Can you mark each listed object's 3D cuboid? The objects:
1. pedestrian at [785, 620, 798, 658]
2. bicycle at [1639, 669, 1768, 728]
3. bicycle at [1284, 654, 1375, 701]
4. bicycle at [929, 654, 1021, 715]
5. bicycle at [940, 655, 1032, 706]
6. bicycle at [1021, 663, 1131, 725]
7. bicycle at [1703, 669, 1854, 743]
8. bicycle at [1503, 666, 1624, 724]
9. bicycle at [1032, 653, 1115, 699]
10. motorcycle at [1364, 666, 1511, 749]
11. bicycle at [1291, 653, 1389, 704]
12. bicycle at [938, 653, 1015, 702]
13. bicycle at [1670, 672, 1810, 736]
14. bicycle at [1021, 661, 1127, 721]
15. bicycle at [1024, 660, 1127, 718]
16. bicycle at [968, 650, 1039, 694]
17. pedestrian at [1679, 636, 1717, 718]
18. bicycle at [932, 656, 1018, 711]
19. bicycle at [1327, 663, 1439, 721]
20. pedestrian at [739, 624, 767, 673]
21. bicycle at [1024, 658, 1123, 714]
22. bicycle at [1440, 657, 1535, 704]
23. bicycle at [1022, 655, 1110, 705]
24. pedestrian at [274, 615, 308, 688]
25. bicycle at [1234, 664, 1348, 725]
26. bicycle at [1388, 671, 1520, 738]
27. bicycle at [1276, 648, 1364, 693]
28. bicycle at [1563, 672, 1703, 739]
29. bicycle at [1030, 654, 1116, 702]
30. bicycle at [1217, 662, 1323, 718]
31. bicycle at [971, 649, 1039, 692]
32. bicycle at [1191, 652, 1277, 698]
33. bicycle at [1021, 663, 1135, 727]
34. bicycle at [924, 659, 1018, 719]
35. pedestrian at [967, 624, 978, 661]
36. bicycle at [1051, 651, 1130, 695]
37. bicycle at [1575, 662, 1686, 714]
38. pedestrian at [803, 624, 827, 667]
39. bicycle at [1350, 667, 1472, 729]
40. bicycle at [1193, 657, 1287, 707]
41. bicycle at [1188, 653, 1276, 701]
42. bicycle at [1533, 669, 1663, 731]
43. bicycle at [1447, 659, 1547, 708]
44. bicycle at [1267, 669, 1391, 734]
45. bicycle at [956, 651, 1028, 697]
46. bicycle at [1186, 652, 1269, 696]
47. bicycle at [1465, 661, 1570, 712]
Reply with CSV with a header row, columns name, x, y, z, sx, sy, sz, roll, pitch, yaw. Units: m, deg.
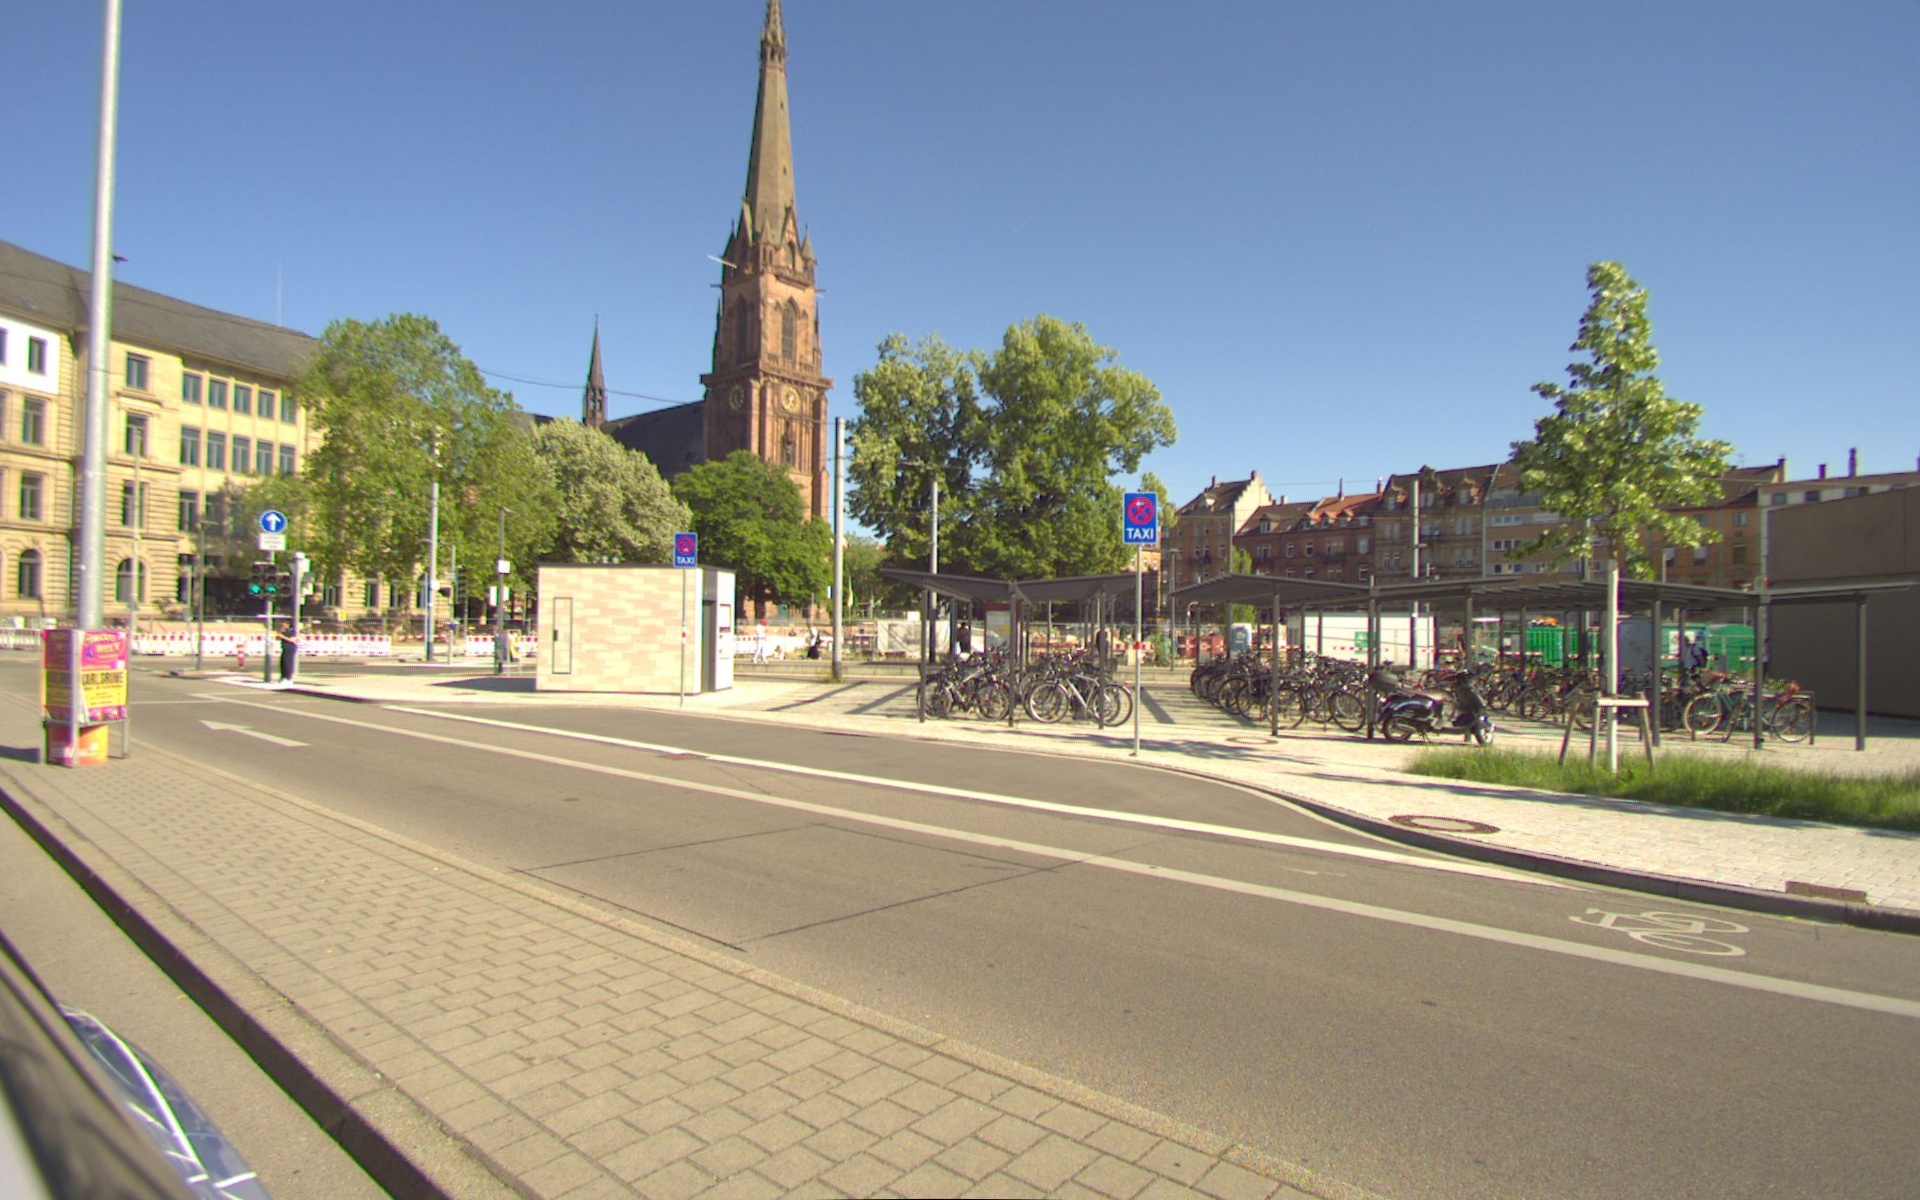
name,x,y,z,sx,sy,sz,roll,pitch,yaw
pedestrian,-9.840,2.265,59.075,0.545,2.171,0.568,0,-2,15
bicycle,13.470,1.777,18.369,1.882,1.016,0.456,0,-2,8
bicycle,8.317,1.735,22.822,1.882,1.016,0.456,0,-2,8
bicycle,0.281,1.558,18.780,1.652,1.069,0.456,0,-2,8
bicycle,0.544,1.674,21.230,1.882,1.016,0.456,0,-2,8
bicycle,2.020,1.624,17.678,1.882,1.016,0.456,0,-2,8
bicycle,13.083,1.685,16.210,1.882,1.106,0.456,0,-2,8
bicycle,11.165,1.756,18.762,1.882,1.016,0.456,0,-2,8
bicycle,2.607,1.747,23.308,1.882,1.016,0.456,0,-2,8
motorcycle,7.163,1.602,15.229,1.924,1.160,0.516,0,-2,6
bicycle,8.058,1.660,21.523,1.882,1.016,0.456,0,-2,8
bicycle,0.372,1.690,22.228,1.652,1.016,0.456,0,-2,8
bicycle,13.130,1.743,17.070,1.882,1.016,0.456,0,-2,8
bicycle,2.056,1.632,18.265,1.882,1.016,0.456,0,-2,8
bicycle,2.138,1.645,18.747,1.882,1.016,0.456,0,-2,8
bicycle,1.043,1.714,24.230,1.652,1.016,0.456,0,-2,8
pedestrian,18.837,1.945,25.830,0.718,2.029,0.678,-1,-2,41
bicycle,0.306,1.629,19.892,1.652,1.016,0.456,0,-2,8
bicycle,7.919,1.712,19.000,1.882,1.016,0.456,0,-2,8
pedestrian,-7.739,1.785,37.796,0.792,1.793,0.977,0,-2,3
bicycle,2.198,1.659,19.589,1.882,1.016,0.456,0,-2,8
bicycle,12.080,1.836,23.199,1.882,1.016,0.456,0,-2,8
bicycle,2.298,1.721,21.924,1.882,1.016,0.456,0,-2,8
pedestrian,-17.487,1.329,26.451,0.683,1.868,0.680,2,-2,-36
bicycle,5.901,1.683,18.097,1.882,1.016,0.456,0,-2,8
bicycle,8.030,1.691,16.498,1.882,1.016,0.456,0,-2,8
bicycle,8.487,1.652,23.914,1.882,1.016,0.456,0,-2,8
bicycle,10.974,1.718,16.541,1.882,1.016,0.456,0,-2,8
bicycle,2.512,1.726,22.538,1.882,1.016,0.456,0,-2,8
bicycle,5.899,1.708,19.327,1.882,1.016,0.456,0,-2,8
bicycle,1.108,1.728,24.946,1.652,1.016,0.456,0,-2,8
bicycle,6.367,1.731,23.571,1.882,1.016,0.456,0,-2,8
bicycle,1.991,1.602,17.118,1.882,1.016,0.456,0,-2,8
bicycle,0.202,1.585,18.195,1.652,1.016,0.456,0,-2,8
pedestrian,0.598,1.991,47.555,0.399,1.734,0.419,1,-2,-11
bicycle,3.163,1.776,24.603,1.882,1.016,0.456,0,-2,8
bicycle,13.875,1.818,20.975,1.882,1.016,0.456,0,-2,8
pedestrian,-6.103,1.898,42.620,0.792,1.793,0.977,0,-2,3
bicycle,7.896,1.709,17.767,1.882,1.016,0.456,0,-2,8
bicycle,5.966,1.747,21.613,1.882,1.016,0.456,0,-2,8
bicycle,6.150,1.738,22.947,1.882,1.016,0.456,0,-2,8
bicycle,11.102,1.732,17.646,1.882,1.016,0.456,0,-2,8
bicycle,11.785,1.825,22.248,1.882,1.016,0.456,0,-2,8
bicycle,6.123,1.682,16.844,1.882,1.016,0.456,0,-2,8
bicycle,0.747,1.709,23.485,1.652,1.016,0.456,0,-2,8
bicycle,6.394,1.762,24.229,1.882,1.016,0.456,0,-2,8
bicycle,11.715,1.814,21.317,1.882,1.016,0.456,0,-2,8
